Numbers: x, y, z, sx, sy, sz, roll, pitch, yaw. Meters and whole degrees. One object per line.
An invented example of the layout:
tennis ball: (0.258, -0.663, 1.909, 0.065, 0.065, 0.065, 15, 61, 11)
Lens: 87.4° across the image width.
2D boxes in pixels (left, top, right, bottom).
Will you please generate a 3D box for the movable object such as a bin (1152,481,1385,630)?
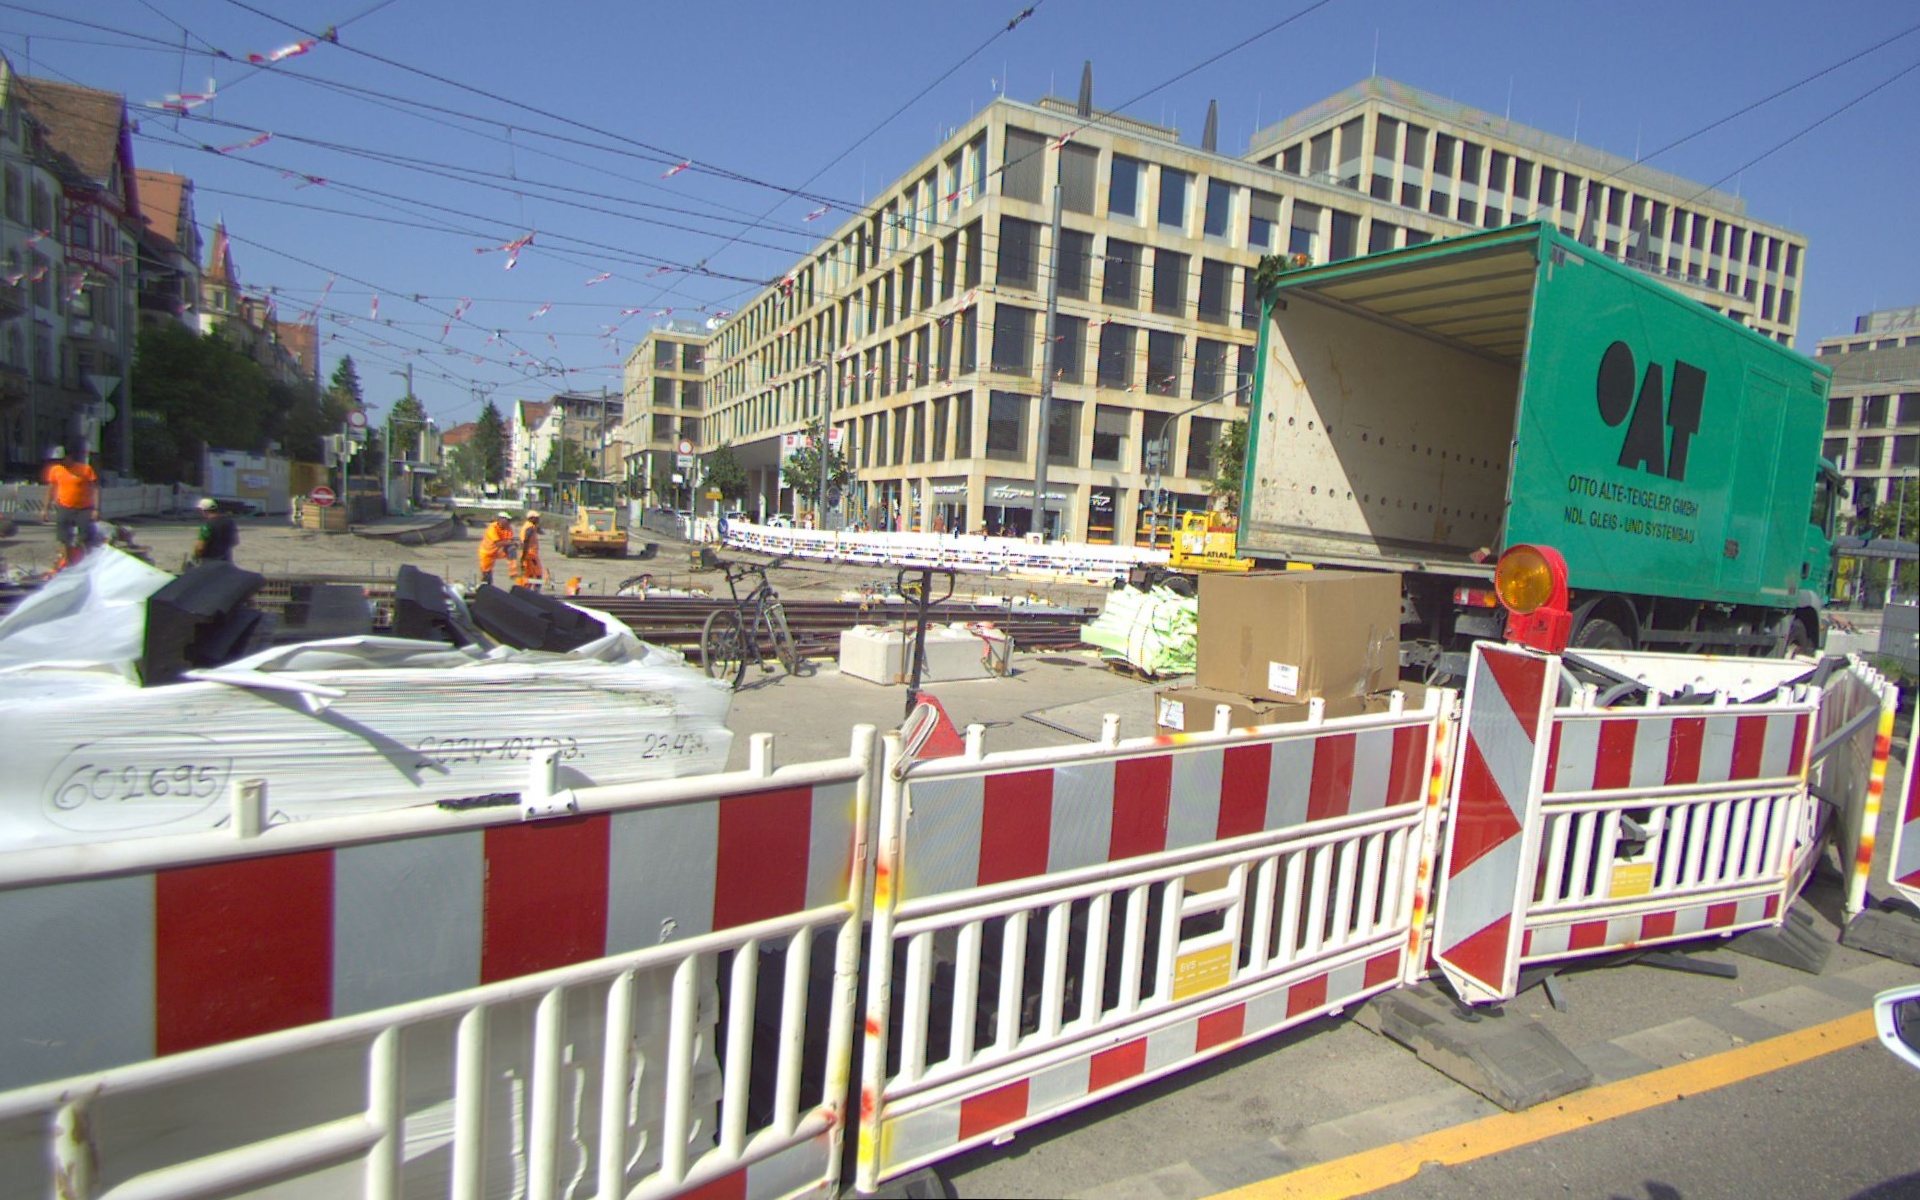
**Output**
movable object such as a bin: (7.553, -1.162, 24.787, 3.539, 3.267, 4.077, -1, 5, -40)

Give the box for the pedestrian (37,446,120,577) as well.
pedestrian: (-12.244, -1.217, 13.974, 0.669, 1.725, 0.748, 1, 4, -25)

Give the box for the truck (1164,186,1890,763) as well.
truck: (6.358, -0.894, 10.434, 8.924, 3.840, 2.789, 0, 4, -35)

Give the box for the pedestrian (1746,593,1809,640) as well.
pedestrian: (17.966, 0.362, 22.085, 0.870, 0.968, 0.698, 1, 4, -25)

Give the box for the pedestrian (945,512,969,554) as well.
pedestrian: (-0.126, -2.771, 41.628, 0.719, 1.691, 0.762, 1, 4, -22)

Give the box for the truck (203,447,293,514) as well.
truck: (-34.247, -5.707, 48.530, 2.657, 2.853, 5.997, 1, 5, -27)

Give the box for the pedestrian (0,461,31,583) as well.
pedestrian: (-12.746, -1.027, 13.053, 0.739, 1.578, 0.737, 4, 4, 23)

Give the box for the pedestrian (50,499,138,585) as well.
pedestrian: (-12.960, -0.855, 15.062, 0.857, 1.199, 0.725, 2, 1, -33)

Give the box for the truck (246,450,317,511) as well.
truck: (-38.192, -6.645, 56.707, 2.598, 3.085, 6.309, 1, 5, -27)

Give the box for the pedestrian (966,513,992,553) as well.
pedestrian: (0.832, -2.892, 43.539, 0.829, 1.691, 0.726, 1, 4, -23)

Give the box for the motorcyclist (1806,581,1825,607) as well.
motorcyclist: (39.885, -0.278, 46.834, 0.508, 1.194, 0.429, 3, 1, -21)

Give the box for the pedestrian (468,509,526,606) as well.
pedestrian: (-8.589, -0.792, 18.648, 0.744, 1.725, 0.740, 2, 4, -6)

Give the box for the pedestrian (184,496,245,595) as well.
pedestrian: (-9.928, -0.727, 13.398, 0.540, 1.264, 0.673, 1, 4, -26)

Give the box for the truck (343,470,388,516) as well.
truck: (-40.135, -7.188, 67.930, 2.210, 2.828, 6.309, 1, 5, -27)

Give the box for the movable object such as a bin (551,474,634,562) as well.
movable object such as a bin: (-13.696, -3.062, 37.180, 2.456, 2.827, 5.486, 3, 4, -24)

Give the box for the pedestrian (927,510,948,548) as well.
pedestrian: (-1.029, -3.234, 45.665, 0.720, 1.691, 0.640, 1, 4, -25)

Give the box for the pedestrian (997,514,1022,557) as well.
pedestrian: (2.020, -2.648, 40.973, 0.719, 1.691, 0.762, 1, 4, -22)

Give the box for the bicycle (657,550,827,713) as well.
bicycle: (-1.832, 0.200, 8.719, 0.662, 1.164, 1.800, 5, 6, 13)

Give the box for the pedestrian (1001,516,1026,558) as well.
pedestrian: (2.248, -2.647, 42.098, 0.719, 1.691, 0.762, 1, 4, -22)

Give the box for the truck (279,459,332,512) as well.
truck: (-42.009, -7.306, 64.580, 2.210, 3.085, 6.309, 1, 5, -27)

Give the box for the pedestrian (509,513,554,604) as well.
pedestrian: (-8.355, -0.816, 19.570, 0.749, 1.725, 0.736, 1, 4, -26)
